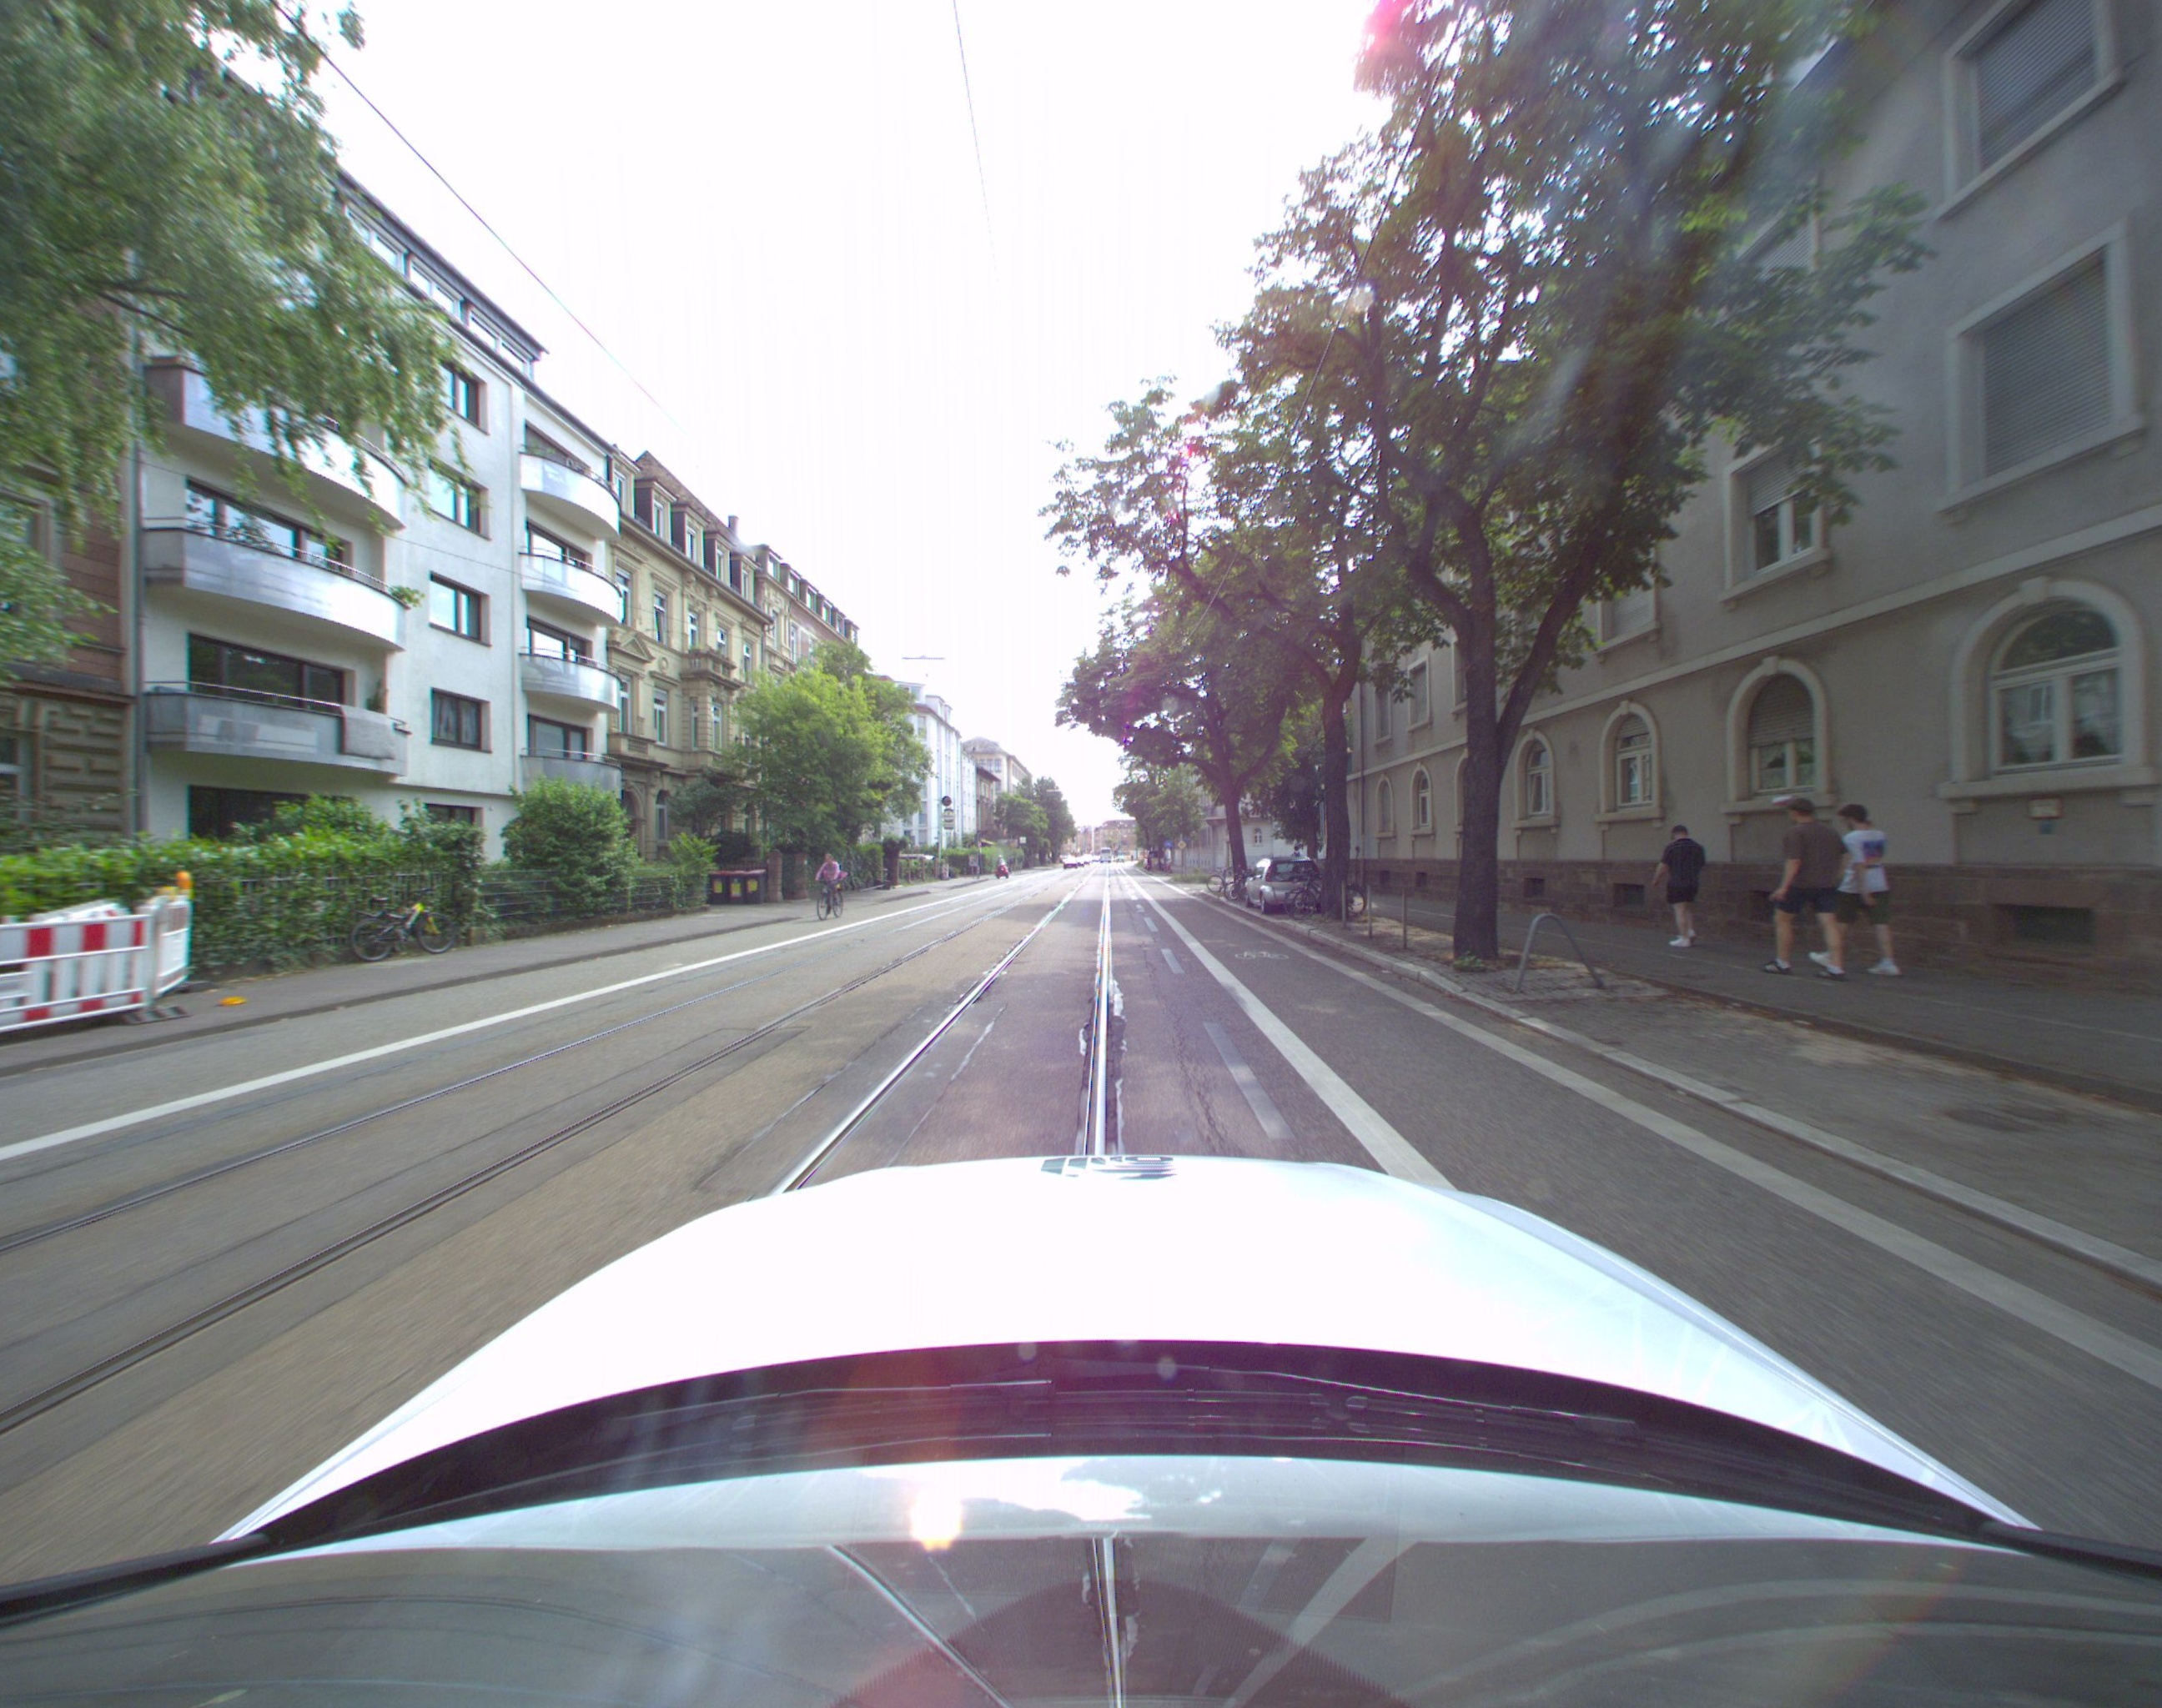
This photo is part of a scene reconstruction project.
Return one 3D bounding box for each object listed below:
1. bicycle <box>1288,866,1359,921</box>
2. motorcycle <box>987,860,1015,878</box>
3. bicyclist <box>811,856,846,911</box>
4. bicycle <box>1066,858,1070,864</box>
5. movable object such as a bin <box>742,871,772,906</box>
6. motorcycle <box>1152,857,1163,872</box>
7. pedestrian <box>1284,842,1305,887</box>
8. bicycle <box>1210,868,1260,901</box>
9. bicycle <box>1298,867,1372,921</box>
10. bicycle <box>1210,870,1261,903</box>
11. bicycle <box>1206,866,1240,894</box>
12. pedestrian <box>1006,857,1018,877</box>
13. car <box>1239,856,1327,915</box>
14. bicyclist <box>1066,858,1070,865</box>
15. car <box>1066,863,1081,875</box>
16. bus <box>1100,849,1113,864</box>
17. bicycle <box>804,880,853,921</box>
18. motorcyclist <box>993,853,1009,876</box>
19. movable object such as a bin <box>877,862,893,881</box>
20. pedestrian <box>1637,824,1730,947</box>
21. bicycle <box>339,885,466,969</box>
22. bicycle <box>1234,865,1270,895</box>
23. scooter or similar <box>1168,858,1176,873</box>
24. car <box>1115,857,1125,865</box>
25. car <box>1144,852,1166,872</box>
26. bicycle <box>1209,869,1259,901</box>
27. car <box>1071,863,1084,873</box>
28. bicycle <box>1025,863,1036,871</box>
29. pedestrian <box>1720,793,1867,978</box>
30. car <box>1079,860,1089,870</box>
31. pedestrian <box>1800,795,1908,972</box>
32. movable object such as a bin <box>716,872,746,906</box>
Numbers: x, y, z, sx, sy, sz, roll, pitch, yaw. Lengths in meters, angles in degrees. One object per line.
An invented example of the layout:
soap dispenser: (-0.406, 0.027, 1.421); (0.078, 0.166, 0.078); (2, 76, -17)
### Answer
bicycle: (5.487, 0.888, 18.491); (1.479, 1.221, 0.519); (-1, -1, 8)
motorcycle: (-6.010, 1.131, 61.193); (2.061, 1.360, 0.746); (-1, -1, 32)
bicyclist: (-6.701, 0.765, 21.665); (0.562, 1.425, 0.943); (-1, -1, 4)
bicycle: (-2.679, 1.379, 168.448); (0.600, 1.097, 2.025); (-6, 0, 5)
movable object such as a bin: (-10.590, 1.107, 26.642); (0.665, 1.107, 0.733); (-1, -1, -2)
motorcycle: (7.012, 0.962, 75.027); (0.854, 1.321, 2.447); (-1, -1, 3)
pedestrian: (8.867, 0.414, 33.802); (0.615, 1.834, 1.031); (-1, -1, 3)
bicycle: (5.179, 1.030, 27.433); (1.639, 1.070, 0.349); (-1, -1, 5)
bicycle: (5.566, 0.873, 17.886); (1.479, 1.153, 0.519); (-1, -1, 8)
bicycle: (5.129, 1.072, 27.068); (1.639, 1.070, 0.349); (-1, -1, 5)
bicycle: (5.606, 1.022, 32.251); (1.263, 1.066, 0.478); (-1, -1, 1)
pedestrian: (-6.946, 1.290, 81.683); (1.055, 1.917, 0.830); (-1, -1, 3)
car: (5.488, 0.806, 22.552); (1.579, 1.445, 3.899); (-1, 0, 2)
bicyclist: (-2.660, 1.554, 168.424); (0.596, 1.492, 0.883); (-6, -1, 4)
car: (-0.974, 1.941, 104.686); (1.587, 1.440, 3.940); (-2, -1, 4)
bus: (5.845, 0.634, 188.785); (2.907, 3.328, 12.208); (0, -1, 1)
bicycle: (-6.695, 1.212, 21.673); (0.566, 0.989, 1.920); (-1, 0, 4)
motorcyclist: (-5.982, 0.769, 61.177); (0.909, 1.714, 0.746); (-1, -1, 33)
movable object such as a bin: (-9.754, 0.862, 40.552); (0.576, 0.925, 0.641); (-1, -1, 2)
pedestrian: (8.408, 0.428, 11.406); (0.578, 1.639, 0.976); (-1, -1, 2)
bicycle: (-10.516, 1.093, 12.703); (0.410, 1.137, 1.820); (-1, 0, 2)
bicycle: (6.742, 1.008, 32.169); (0.586, 1.158, 1.826); (-1, 0, -17)
scooter or similar: (7.696, 0.970, 68.934); (0.530, 1.251, 1.721); (-2, -1, 3)
car: (8.561, 1.505, 179.111); (2.122, 1.684, 4.103); (0, 0, 1)
car: (7.350, 0.785, 81.377); (1.888, 1.941, 4.952); (-1, 0, 2)
bicycle: (5.206, 1.064, 27.830); (1.639, 1.070, 0.349); (-1, -1, 5)
car: (-0.508, 2.020, 120.334); (1.622, 1.407, 4.131); (-1, 0, 2)
bicycle: (-6.537, 1.700, 106.066); (1.138, 0.909, 2.990); (2, 0, 2)
pedestrian: (7.726, 0.328, 8.874); (0.750, 1.889, 0.886); (-2, -1, 1)
car: (0.530, 1.930, 142.405); (1.721, 1.540, 4.277); (-2, -1, 1)
pedestrian: (8.443, 0.311, 8.924); (0.502, 1.852, 0.687); (-1, -1, 2)
movable object such as a bin: (-11.471, 1.140, 26.717); (0.665, 1.107, 0.733); (-1, -1, -2)
